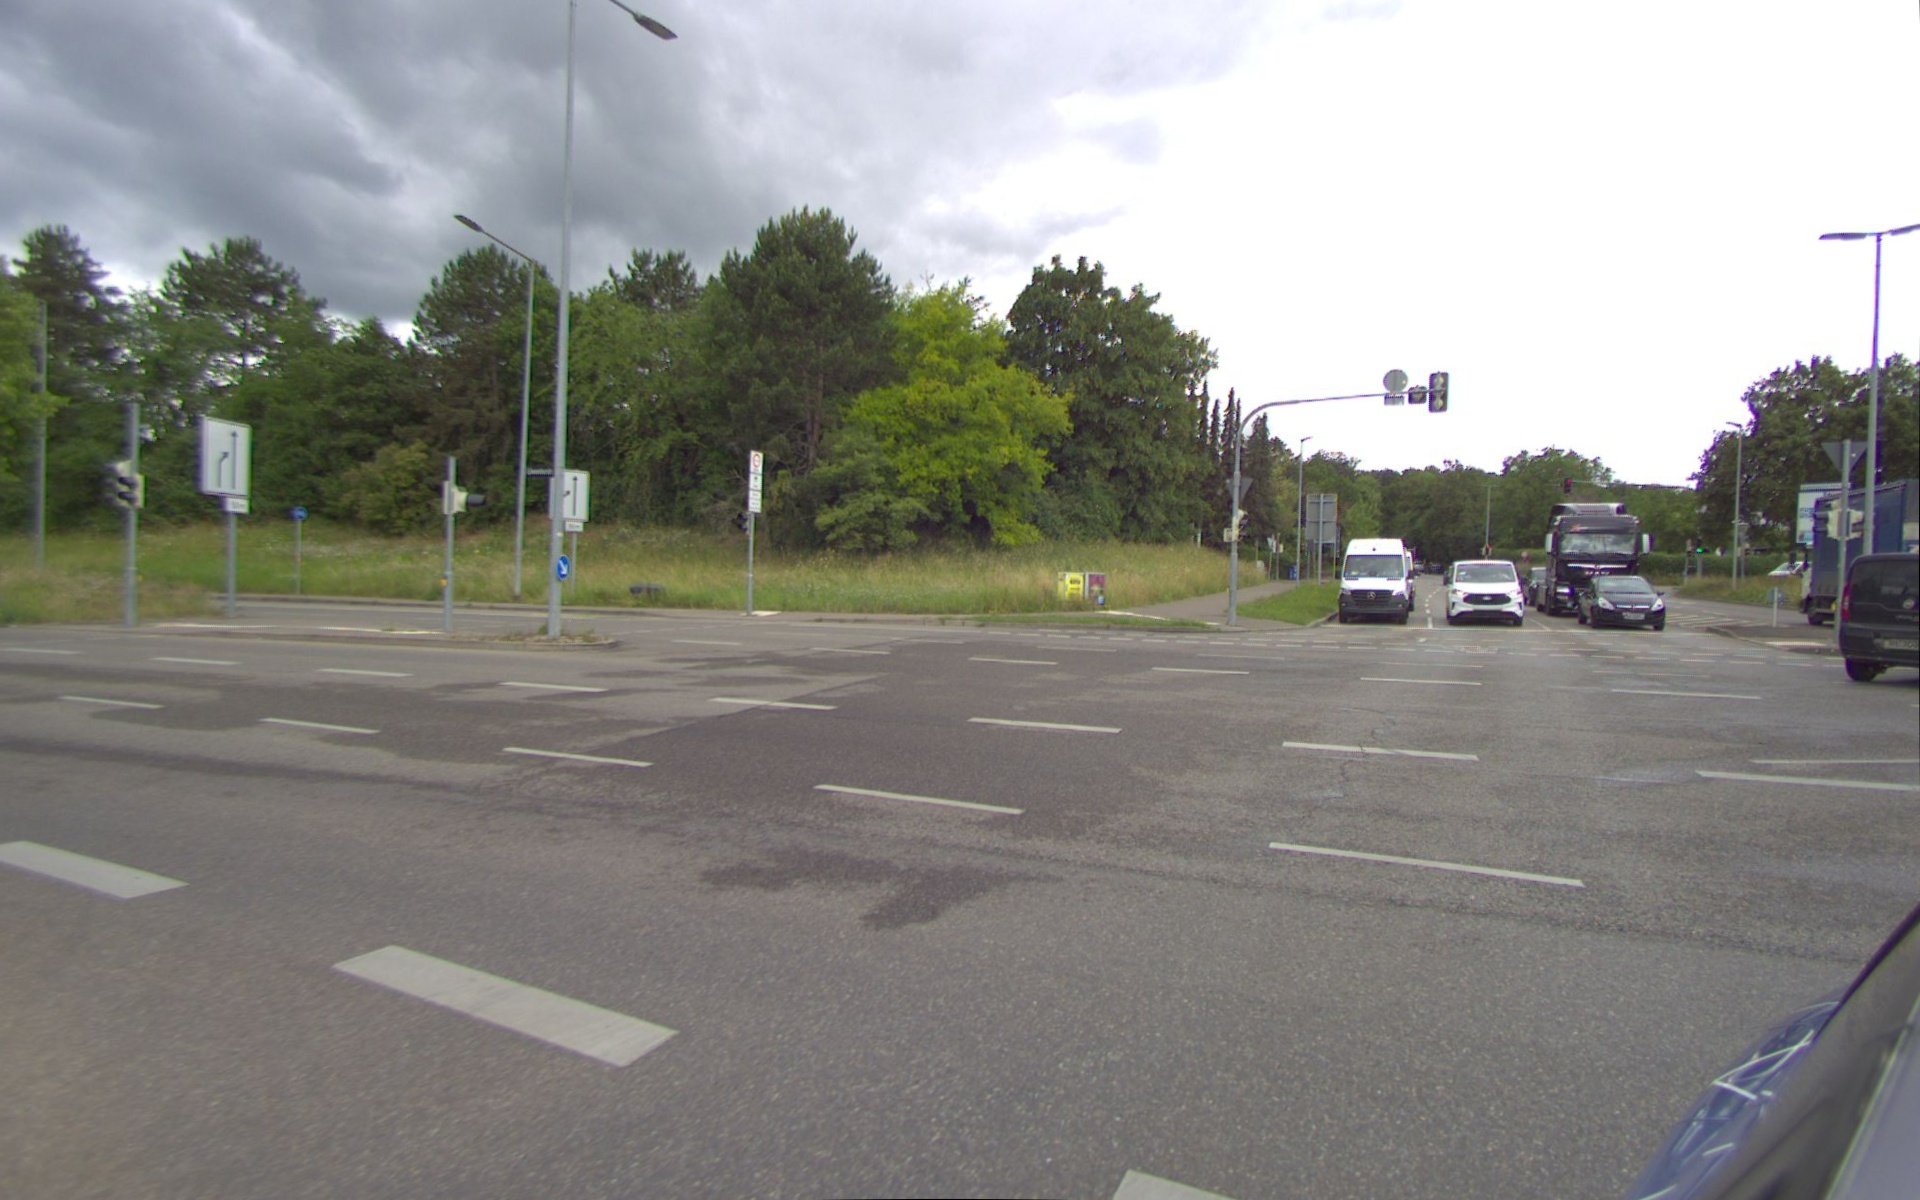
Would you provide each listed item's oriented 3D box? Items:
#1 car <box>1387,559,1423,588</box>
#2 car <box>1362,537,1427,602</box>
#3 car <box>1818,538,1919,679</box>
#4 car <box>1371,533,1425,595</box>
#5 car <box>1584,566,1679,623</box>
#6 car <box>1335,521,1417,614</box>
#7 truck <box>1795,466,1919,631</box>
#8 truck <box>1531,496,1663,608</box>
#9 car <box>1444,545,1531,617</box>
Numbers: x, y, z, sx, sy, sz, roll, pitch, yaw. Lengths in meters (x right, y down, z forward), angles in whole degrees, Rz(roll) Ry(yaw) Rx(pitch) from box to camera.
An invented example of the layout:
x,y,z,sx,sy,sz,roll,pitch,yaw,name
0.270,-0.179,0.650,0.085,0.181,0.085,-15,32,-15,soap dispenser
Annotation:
x,y,z,sx,sy,sz,roll,pitch,yaw,name
23.864,-1.433,54.333,1.634,1.474,3.838,2,3,22,car
17.610,-1.255,40.834,2.205,2.415,5.910,1,2,25,car
15.073,0.100,14.712,4.789,1.899,2.005,0,2,-23,car
20.957,-1.739,48.376,2.204,2.754,6.633,1,2,24,car
18.916,-0.228,28.657,1.619,1.459,3.834,2,3,25,car
13.447,-1.066,32.576,2.204,2.691,5.914,1,2,24,car
25.255,-1.283,26.777,2.759,3.851,8.318,2,2,25,truck
22.263,-1.652,35.712,3.041,3.561,5.914,1,2,24,truck
16.176,-0.616,31.236,2.098,2.015,4.947,0,2,24,car
